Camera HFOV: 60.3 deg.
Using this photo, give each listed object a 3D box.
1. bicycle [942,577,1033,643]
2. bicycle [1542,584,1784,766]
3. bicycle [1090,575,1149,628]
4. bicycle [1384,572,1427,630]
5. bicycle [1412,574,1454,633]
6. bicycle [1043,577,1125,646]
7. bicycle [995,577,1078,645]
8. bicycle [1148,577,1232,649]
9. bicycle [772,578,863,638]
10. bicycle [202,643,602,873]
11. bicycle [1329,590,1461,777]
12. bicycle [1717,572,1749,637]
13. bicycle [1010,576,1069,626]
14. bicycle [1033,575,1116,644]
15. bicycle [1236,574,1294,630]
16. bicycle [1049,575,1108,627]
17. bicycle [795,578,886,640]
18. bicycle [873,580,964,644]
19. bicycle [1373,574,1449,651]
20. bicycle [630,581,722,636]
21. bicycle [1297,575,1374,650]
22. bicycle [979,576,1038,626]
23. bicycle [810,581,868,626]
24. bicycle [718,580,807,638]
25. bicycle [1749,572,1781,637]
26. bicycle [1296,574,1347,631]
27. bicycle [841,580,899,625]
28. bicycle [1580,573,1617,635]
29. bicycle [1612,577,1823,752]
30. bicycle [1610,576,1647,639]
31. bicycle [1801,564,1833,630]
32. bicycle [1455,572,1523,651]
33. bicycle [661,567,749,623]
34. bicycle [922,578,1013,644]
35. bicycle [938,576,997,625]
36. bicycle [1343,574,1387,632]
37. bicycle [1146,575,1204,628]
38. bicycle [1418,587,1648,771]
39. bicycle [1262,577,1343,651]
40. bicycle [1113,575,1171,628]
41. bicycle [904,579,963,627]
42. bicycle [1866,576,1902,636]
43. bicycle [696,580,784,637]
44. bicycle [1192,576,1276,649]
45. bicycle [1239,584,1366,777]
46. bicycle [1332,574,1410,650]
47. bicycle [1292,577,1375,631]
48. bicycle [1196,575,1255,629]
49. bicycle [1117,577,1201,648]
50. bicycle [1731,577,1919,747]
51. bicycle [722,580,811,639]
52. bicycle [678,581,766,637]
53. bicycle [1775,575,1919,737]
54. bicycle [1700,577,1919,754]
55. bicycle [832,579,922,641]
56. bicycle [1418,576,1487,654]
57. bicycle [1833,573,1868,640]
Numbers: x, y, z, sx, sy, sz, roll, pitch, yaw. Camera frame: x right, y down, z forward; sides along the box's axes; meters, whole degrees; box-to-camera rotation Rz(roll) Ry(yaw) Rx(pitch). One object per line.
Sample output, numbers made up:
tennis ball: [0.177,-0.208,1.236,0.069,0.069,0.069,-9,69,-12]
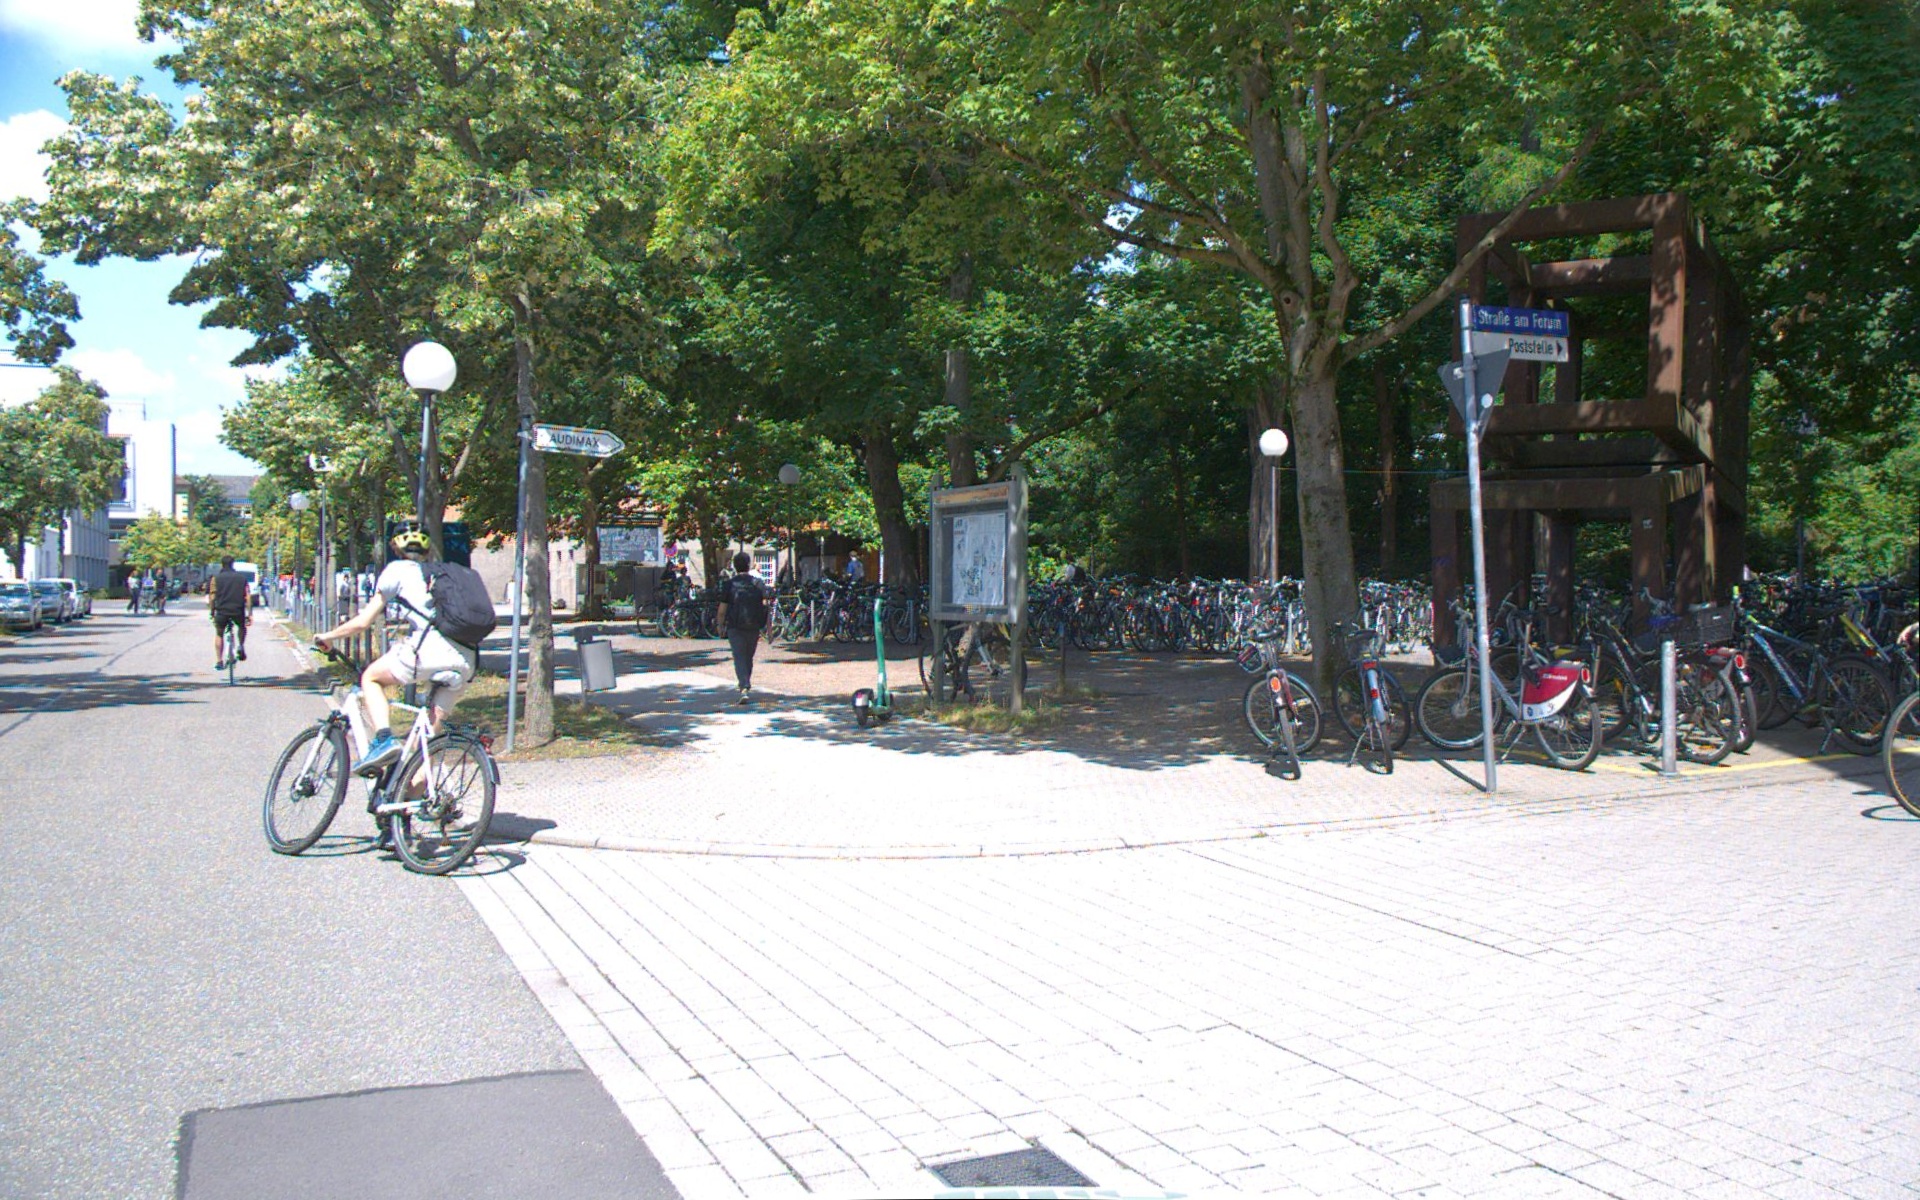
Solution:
bicycle: [0.503,0.160,29.346,0.493,1.127,2.021,1,2,38]
bicycle: [4.756,0.467,11.301,0.489,1.127,1.618,-2,2,-24]
bicycle: [3.494,0.021,36.093,0.465,1.102,1.693,1,2,36]
bicycle: [8.688,0.003,32.241,0.463,1.102,1.698,1,1,27]
bicycle: [9.170,0.047,32.064,0.463,1.102,1.698,1,1,27]
bicycle: [2.136,0.180,28.236,0.492,1.127,2.025,1,2,33]
bicycle: [1.350,0.177,28.766,0.492,1.127,2.025,1,2,33]
bicycle: [3.774,0.193,27.017,0.493,1.127,1.998,1,2,35]
bicycle: [-2.748,0.140,32.095,0.493,1.127,2.021,1,2,38]
bicycle: [-2.988,0.820,8.860,2.022,1.127,0.605,-1,1,16]
bicycle: [2.958,0.526,11.378,0.576,1.127,1.748,-2,2,5]
bicycle: [13.762,0.065,29.436,0.463,1.102,1.698,1,1,27]
bicycle: [1.795,0.012,37.139,0.465,1.102,1.693,1,2,36]
bicycle: [1.980,0.144,28.345,0.492,1.127,2.025,1,2,33]
bicycle: [6.245,0.026,33.778,0.465,1.102,1.693,1,2,36]
bicycle: [2.619,0.016,36.465,0.465,1.102,1.693,1,2,36]
bicycle: [-2.272,0.151,31.697,0.493,1.127,2.021,1,2,38]
bicycle: [-0.743,0.201,30.510,0.493,1.127,2.021,1,2,38]
bicycle: [6.951,0.174,25.449,0.493,1.127,1.900,1,2,35]
bicycle: [-6.072,0.172,35.478,2.014,1.127,0.495,-1,2,-44]
bicycle: [5.914,0.176,25.991,0.493,1.127,1.900,1,2,35]
bicycle: [1.117,0.010,37.926,0.465,1.102,1.693,1,2,36]
bicycle: [-3.047,0.070,41.769,0.465,1.102,1.693,1,2,36]
bicycle: [-3.966,0.168,33.307,0.493,1.127,2.021,1,2,38]
bicycle: [14.214,0.061,29.182,0.463,1.102,1.698,1,1,27]
bicycle: [7.278,0.037,33.260,0.464,1.102,1.695,1,2,32]
bicycle: [-2.229,0.048,41.202,0.465,1.102,1.693,1,2,36]
bicycle: [11.743,0.053,30.406,0.463,1.102,1.698,1,1,27]
bicycle: [5.365,0.416,11.818,0.487,1.127,1.625,-2,2,-12]
bicycle: [12.195,0.118,30.156,0.463,1.102,1.698,1,1,27]
bicycle: [14.967,-0.071,28.905,0.463,1.102,1.698,1,1,27]
bicycle: [7.944,0.148,24.781,0.492,1.127,1.902,1,2,32]
bicycle: [-5.327,-0.117,34.612,0.493,1.127,2.021,1,2,38]
bicycle: [0.147,0.180,29.749,0.493,1.127,2.021,1,2,38]
bicycle: [0.190,0.007,38.484,0.465,1.102,1.693,1,2,36]
bicycle: [8.024,0.040,32.712,0.463,1.102,1.698,1,1,27]
bicycle: [4.597,0.020,35.273,0.465,1.102,1.693,1,2,36]
bicycle: [3.838,0.487,11.207,0.489,1.127,1.618,-2,2,-24]
bicycle: [5.462,0.203,26.271,0.493,1.127,1.998,1,2,35]
bicycle: [3.937,0.016,35.705,0.465,1.102,1.693,1,2,36]
bicycle: [-0.615,0.059,39.220,0.465,1.102,1.693,1,2,36]
bicycle: [15.716,0.083,28.160,0.442,0.978,1.738,1,1,27]
bicycle: [-4.485,0.161,33.816,0.493,1.127,2.021,1,2,38]
bicycle: [4.433,0.176,26.664,0.493,1.127,1.998,1,2,35]
bicycle: [2.320,0.508,11.360,0.624,1.179,1.631,-2,2,5]
bicycle: [6.358,0.164,25.529,0.493,1.127,1.900,1,2,35]
bicycle: [7.997,0.065,35.490,1.671,1.102,0.600,2,2,44]
bicycle: [5.550,0.026,34.509,0.465,1.102,1.693,1,2,36]
bicycle: [3.310,0.189,27.373,0.493,1.127,1.998,1,2,35]
bicycle: [6.410,0.407,11.993,0.488,1.127,1.621,0,1,-19]
bicycle: [-3.857,0.177,33.106,0.493,1.127,2.021,1,2,38]
bicycle: [-4.922,0.168,34.299,0.493,1.127,2.021,1,2,38]
bicycle: [6.913,0.389,12.227,0.618,1.127,1.621,0,1,-19]
bicycle: [5.980,0.416,11.574,0.488,1.127,1.621,0,1,-19]
bicycle: [-1.549,0.166,31.308,0.493,1.127,2.021,1,2,38]
bicycle: [7.459,0.205,25.010,0.492,1.127,1.902,1,2,32]
bicycle: [15.277,0.094,28.391,0.463,1.102,1.698,1,1,27]
